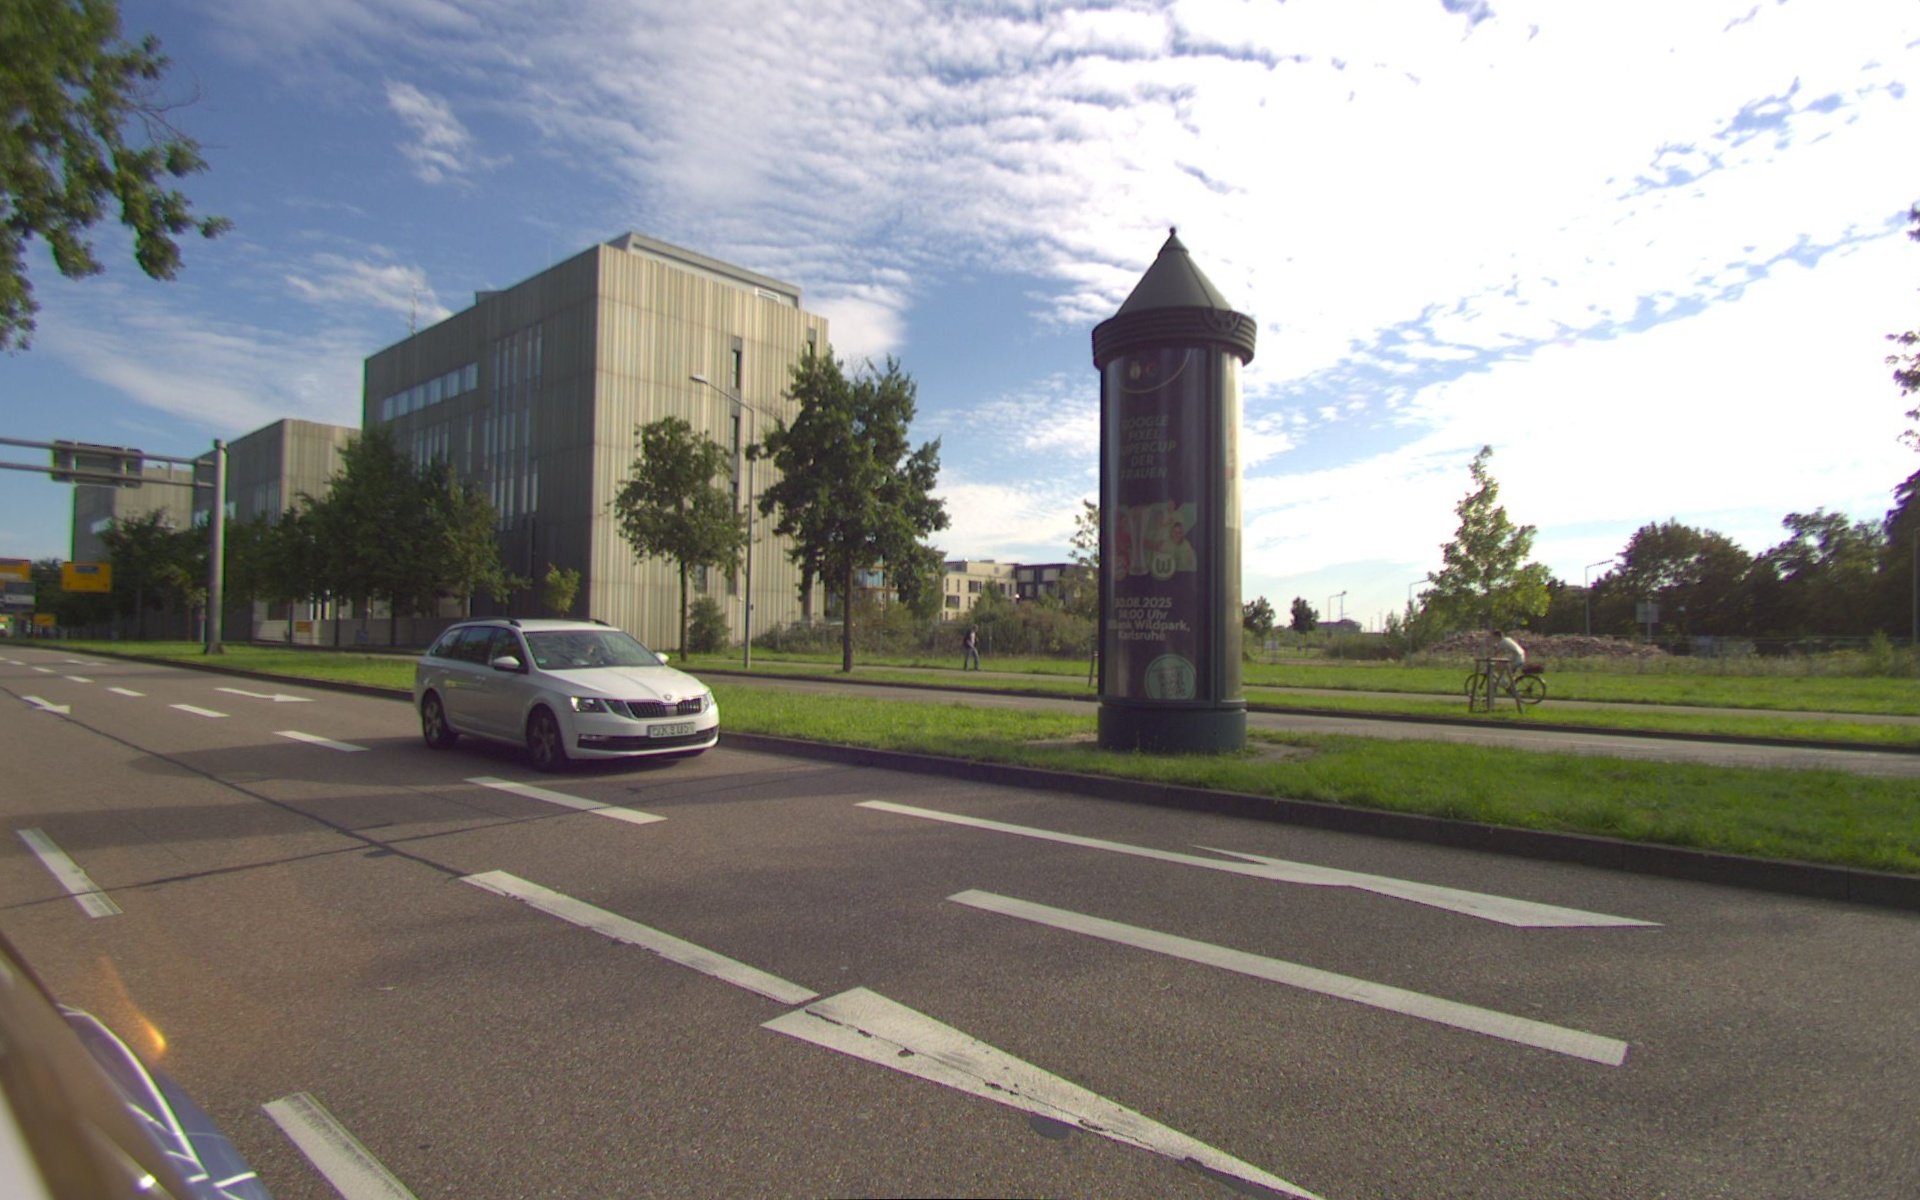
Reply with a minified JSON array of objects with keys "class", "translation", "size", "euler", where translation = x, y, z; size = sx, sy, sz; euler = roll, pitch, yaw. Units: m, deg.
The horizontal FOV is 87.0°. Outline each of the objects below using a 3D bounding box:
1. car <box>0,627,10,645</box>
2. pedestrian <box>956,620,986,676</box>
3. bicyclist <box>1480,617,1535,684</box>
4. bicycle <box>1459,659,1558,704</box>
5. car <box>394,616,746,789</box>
[{"class":"car","translation":[-113.676,4.250,119.301],"size":[3.998,2.029,1.973],"euler":[-2,-3,41]},{"class":"pedestrian","translation":[0.400,1.766,37.387],"size":[0.867,2.029,0.667],"euler":[-2,-3,41]},{"class":"bicyclist","translation":[12.925,1.193,23.902],"size":[0.989,1.537,0.698],"euler":[-2,-3,41]},{"class":"bicycle","translation":[12.917,1.898,23.849],"size":[1.910,0.989,0.885],"euler":[-2,-4,41]},{"class":"car","translation":[-4.379,0.944,10.995],"size":[4.479,1.510,1.681],"euler":[-1,-2,41]}]
